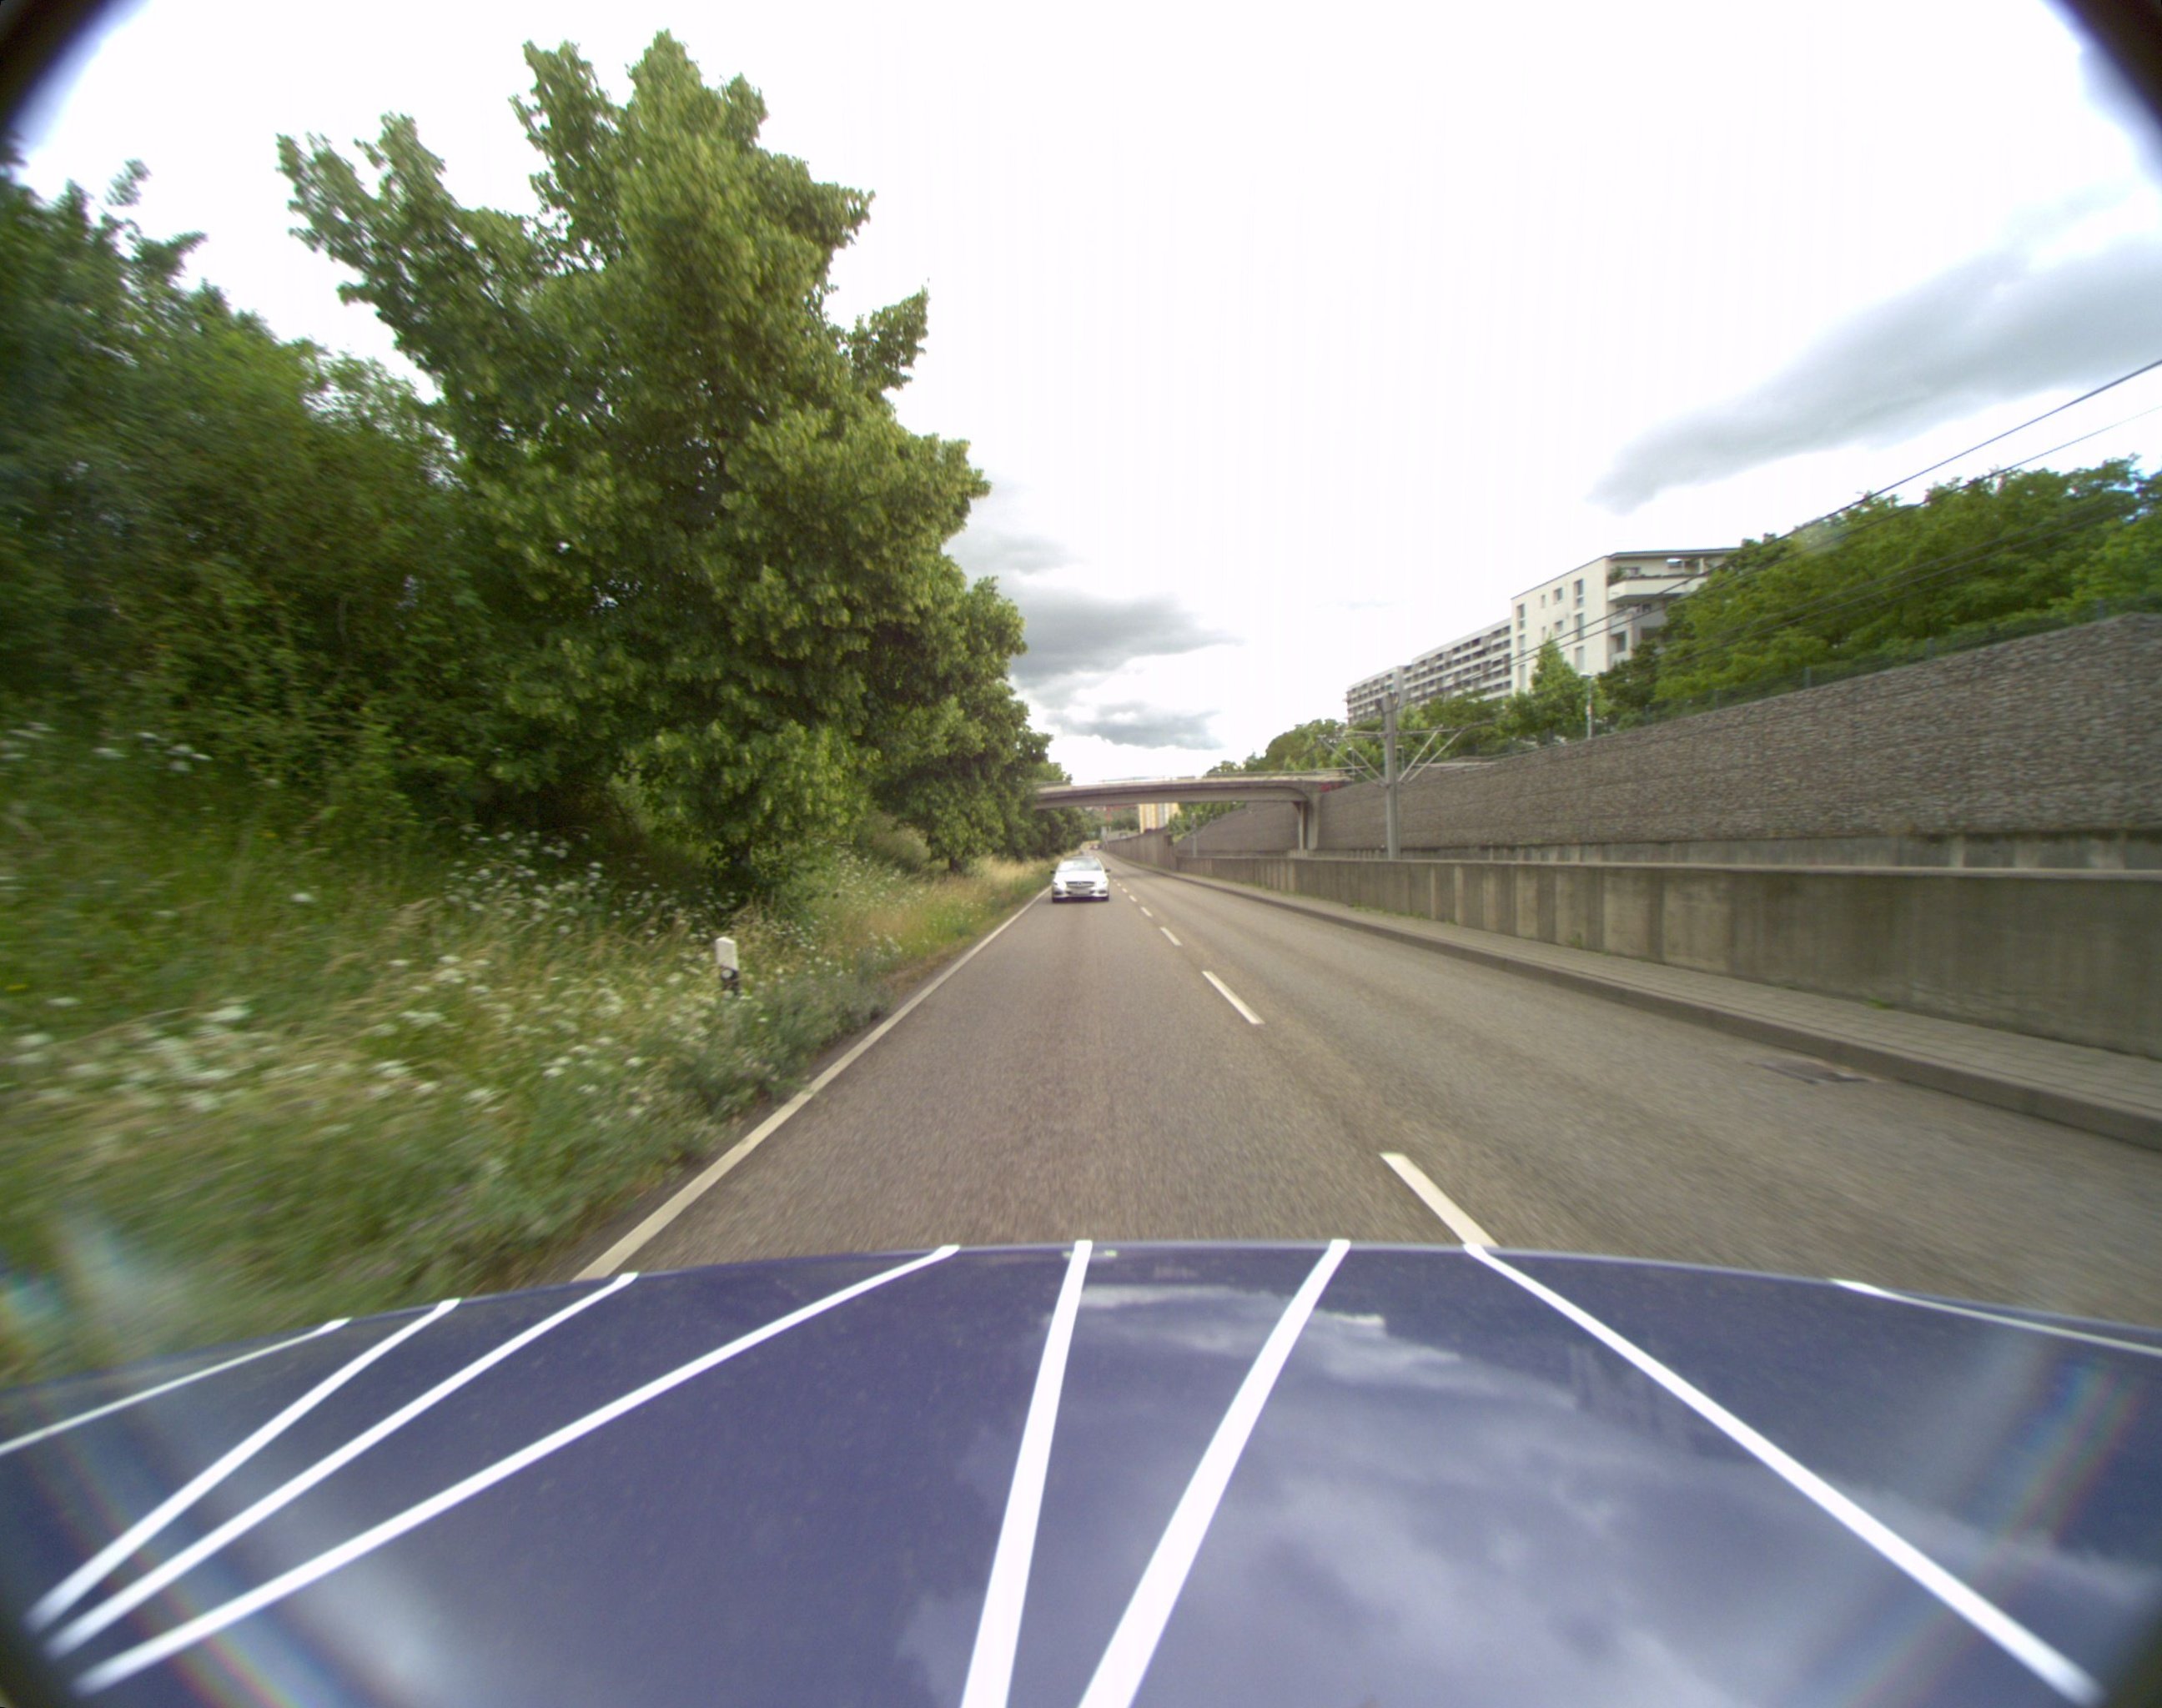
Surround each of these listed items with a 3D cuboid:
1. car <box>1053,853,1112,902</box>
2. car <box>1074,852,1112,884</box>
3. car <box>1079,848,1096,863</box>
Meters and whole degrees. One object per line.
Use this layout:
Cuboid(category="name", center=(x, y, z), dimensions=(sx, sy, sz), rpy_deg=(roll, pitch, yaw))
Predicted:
Cuboid(category="car", center=(0.086, 0.740, 26.220), dimensions=(1.842, 1.499, 4.160), rpy_deg=(-1, 1, 1))
Cuboid(category="car", center=(0.636, 0.705, 40.252), dimensions=(1.878, 1.459, 3.999), rpy_deg=(-2, 1, 1))
Cuboid(category="car", center=(0.818, 0.205, 92.519), dimensions=(1.998, 1.746, 4.000), rpy_deg=(-2, 1, 1))
